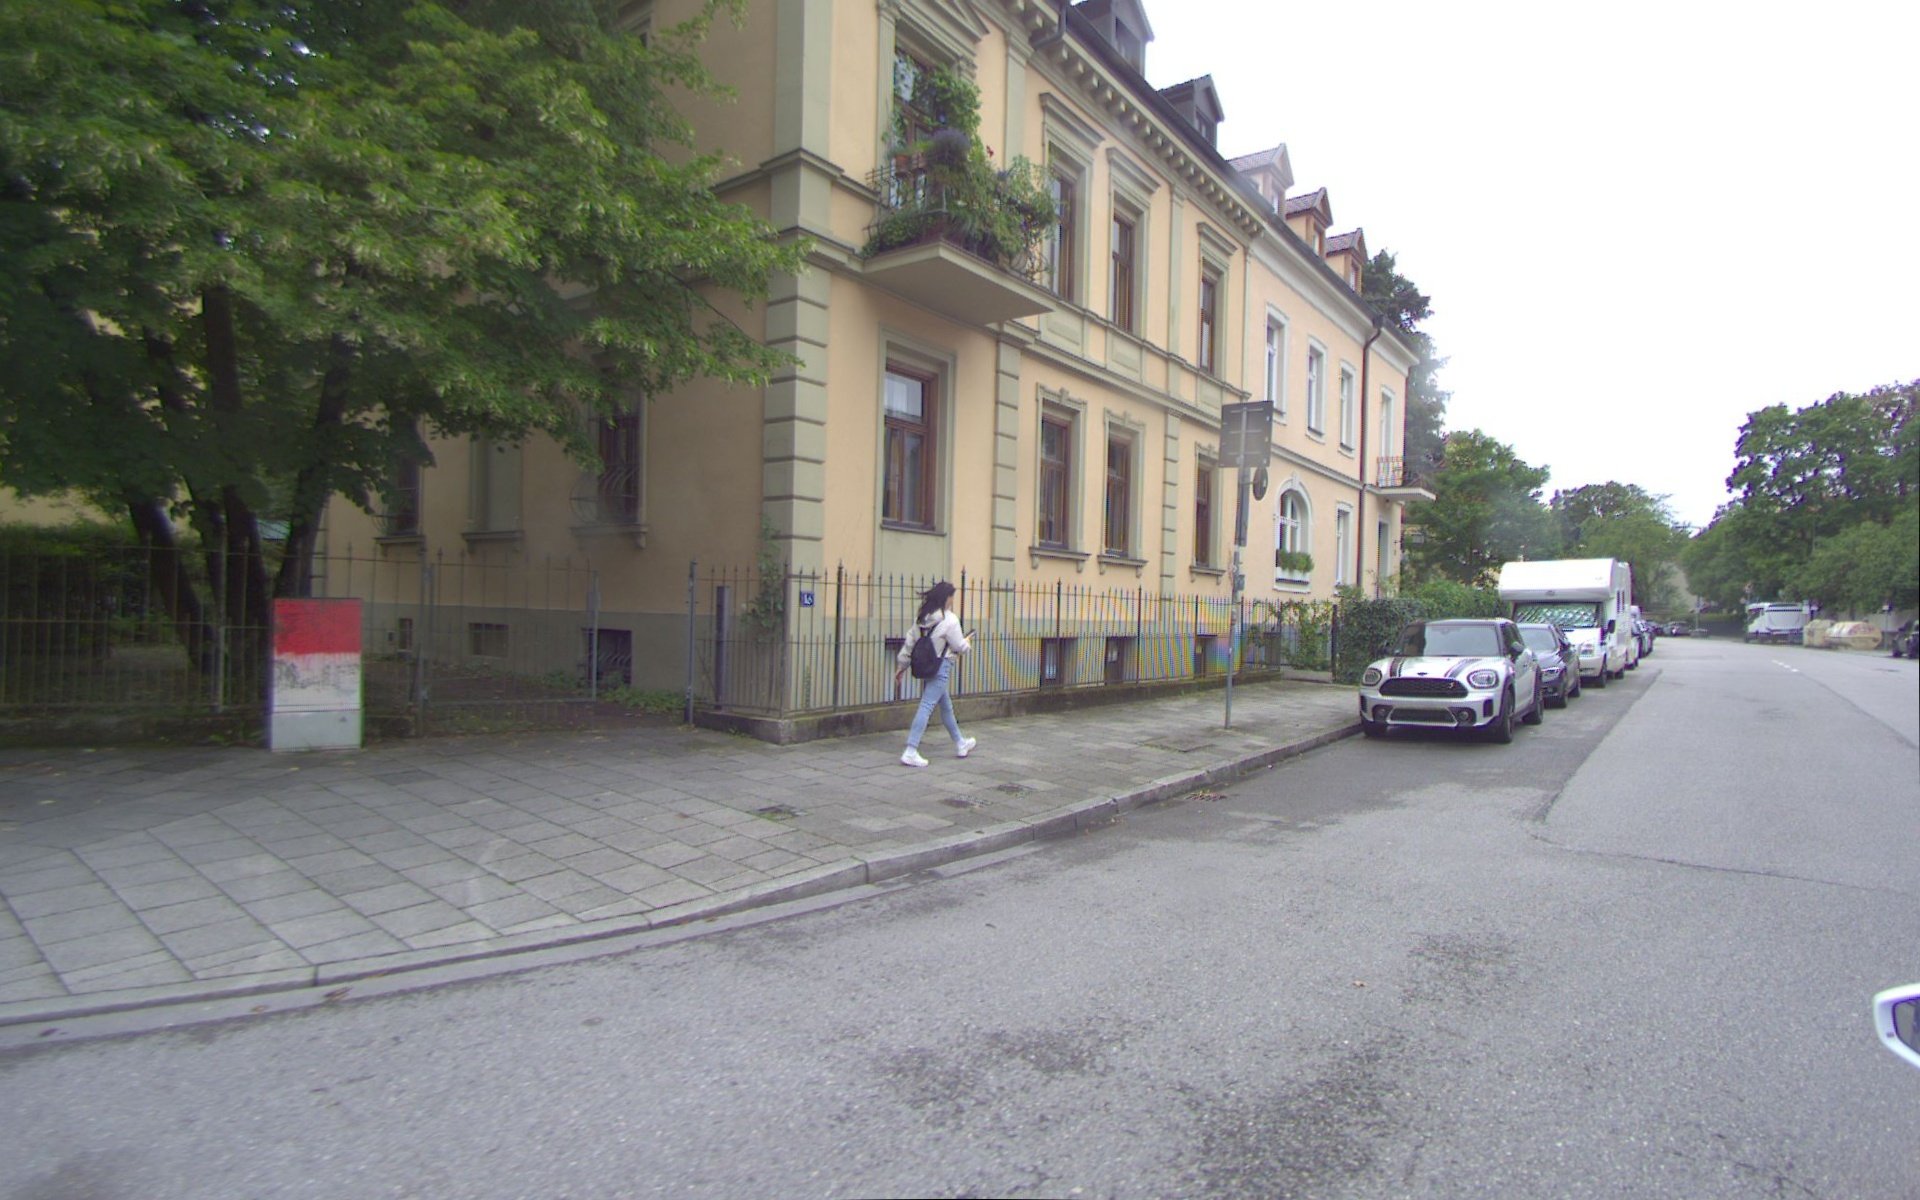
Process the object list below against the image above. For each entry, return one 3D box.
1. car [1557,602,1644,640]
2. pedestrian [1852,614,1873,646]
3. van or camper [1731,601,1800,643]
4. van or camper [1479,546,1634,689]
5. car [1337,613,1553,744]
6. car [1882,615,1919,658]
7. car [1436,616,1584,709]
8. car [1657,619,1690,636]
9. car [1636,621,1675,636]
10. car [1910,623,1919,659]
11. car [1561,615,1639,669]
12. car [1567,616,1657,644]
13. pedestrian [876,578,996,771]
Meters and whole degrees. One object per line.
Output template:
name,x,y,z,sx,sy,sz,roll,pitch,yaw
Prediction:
car,44.533,1.452,69.922,4.544,2.597,2.235,1,0,3
pedestrian,57.843,1.932,64.373,0.783,2.011,0.630,2,0,24
van or camper,59.949,1.620,74.920,2.237,2.945,7.271,1,0,25
van or camper,14.711,0.424,24.495,2.424,2.980,7.182,-1,-1,38
car,7.036,0.990,14.312,1.911,1.555,4.513,-1,-2,37
car,45.139,1.743,47.105,1.960,1.896,5.064,2,0,34
car,10.519,1.078,19.012,1.910,1.528,4.806,-1,-2,35
car,70.373,2.714,99.104,1.709,1.556,2.948,0,-1,13
car,71.311,2.882,103.063,1.845,1.446,4.224,0,-1,13
car,42.127,1.802,42.676,1.724,1.560,4.557,2,0,33
car,19.690,1.247,30.825,1.755,1.555,4.213,-1,-2,36
car,39.153,1.793,60.425,4.261,1.550,1.933,1,-1,23
pedestrian,-0.221,0.646,9.122,0.646,1.625,0.736,8,4,41
